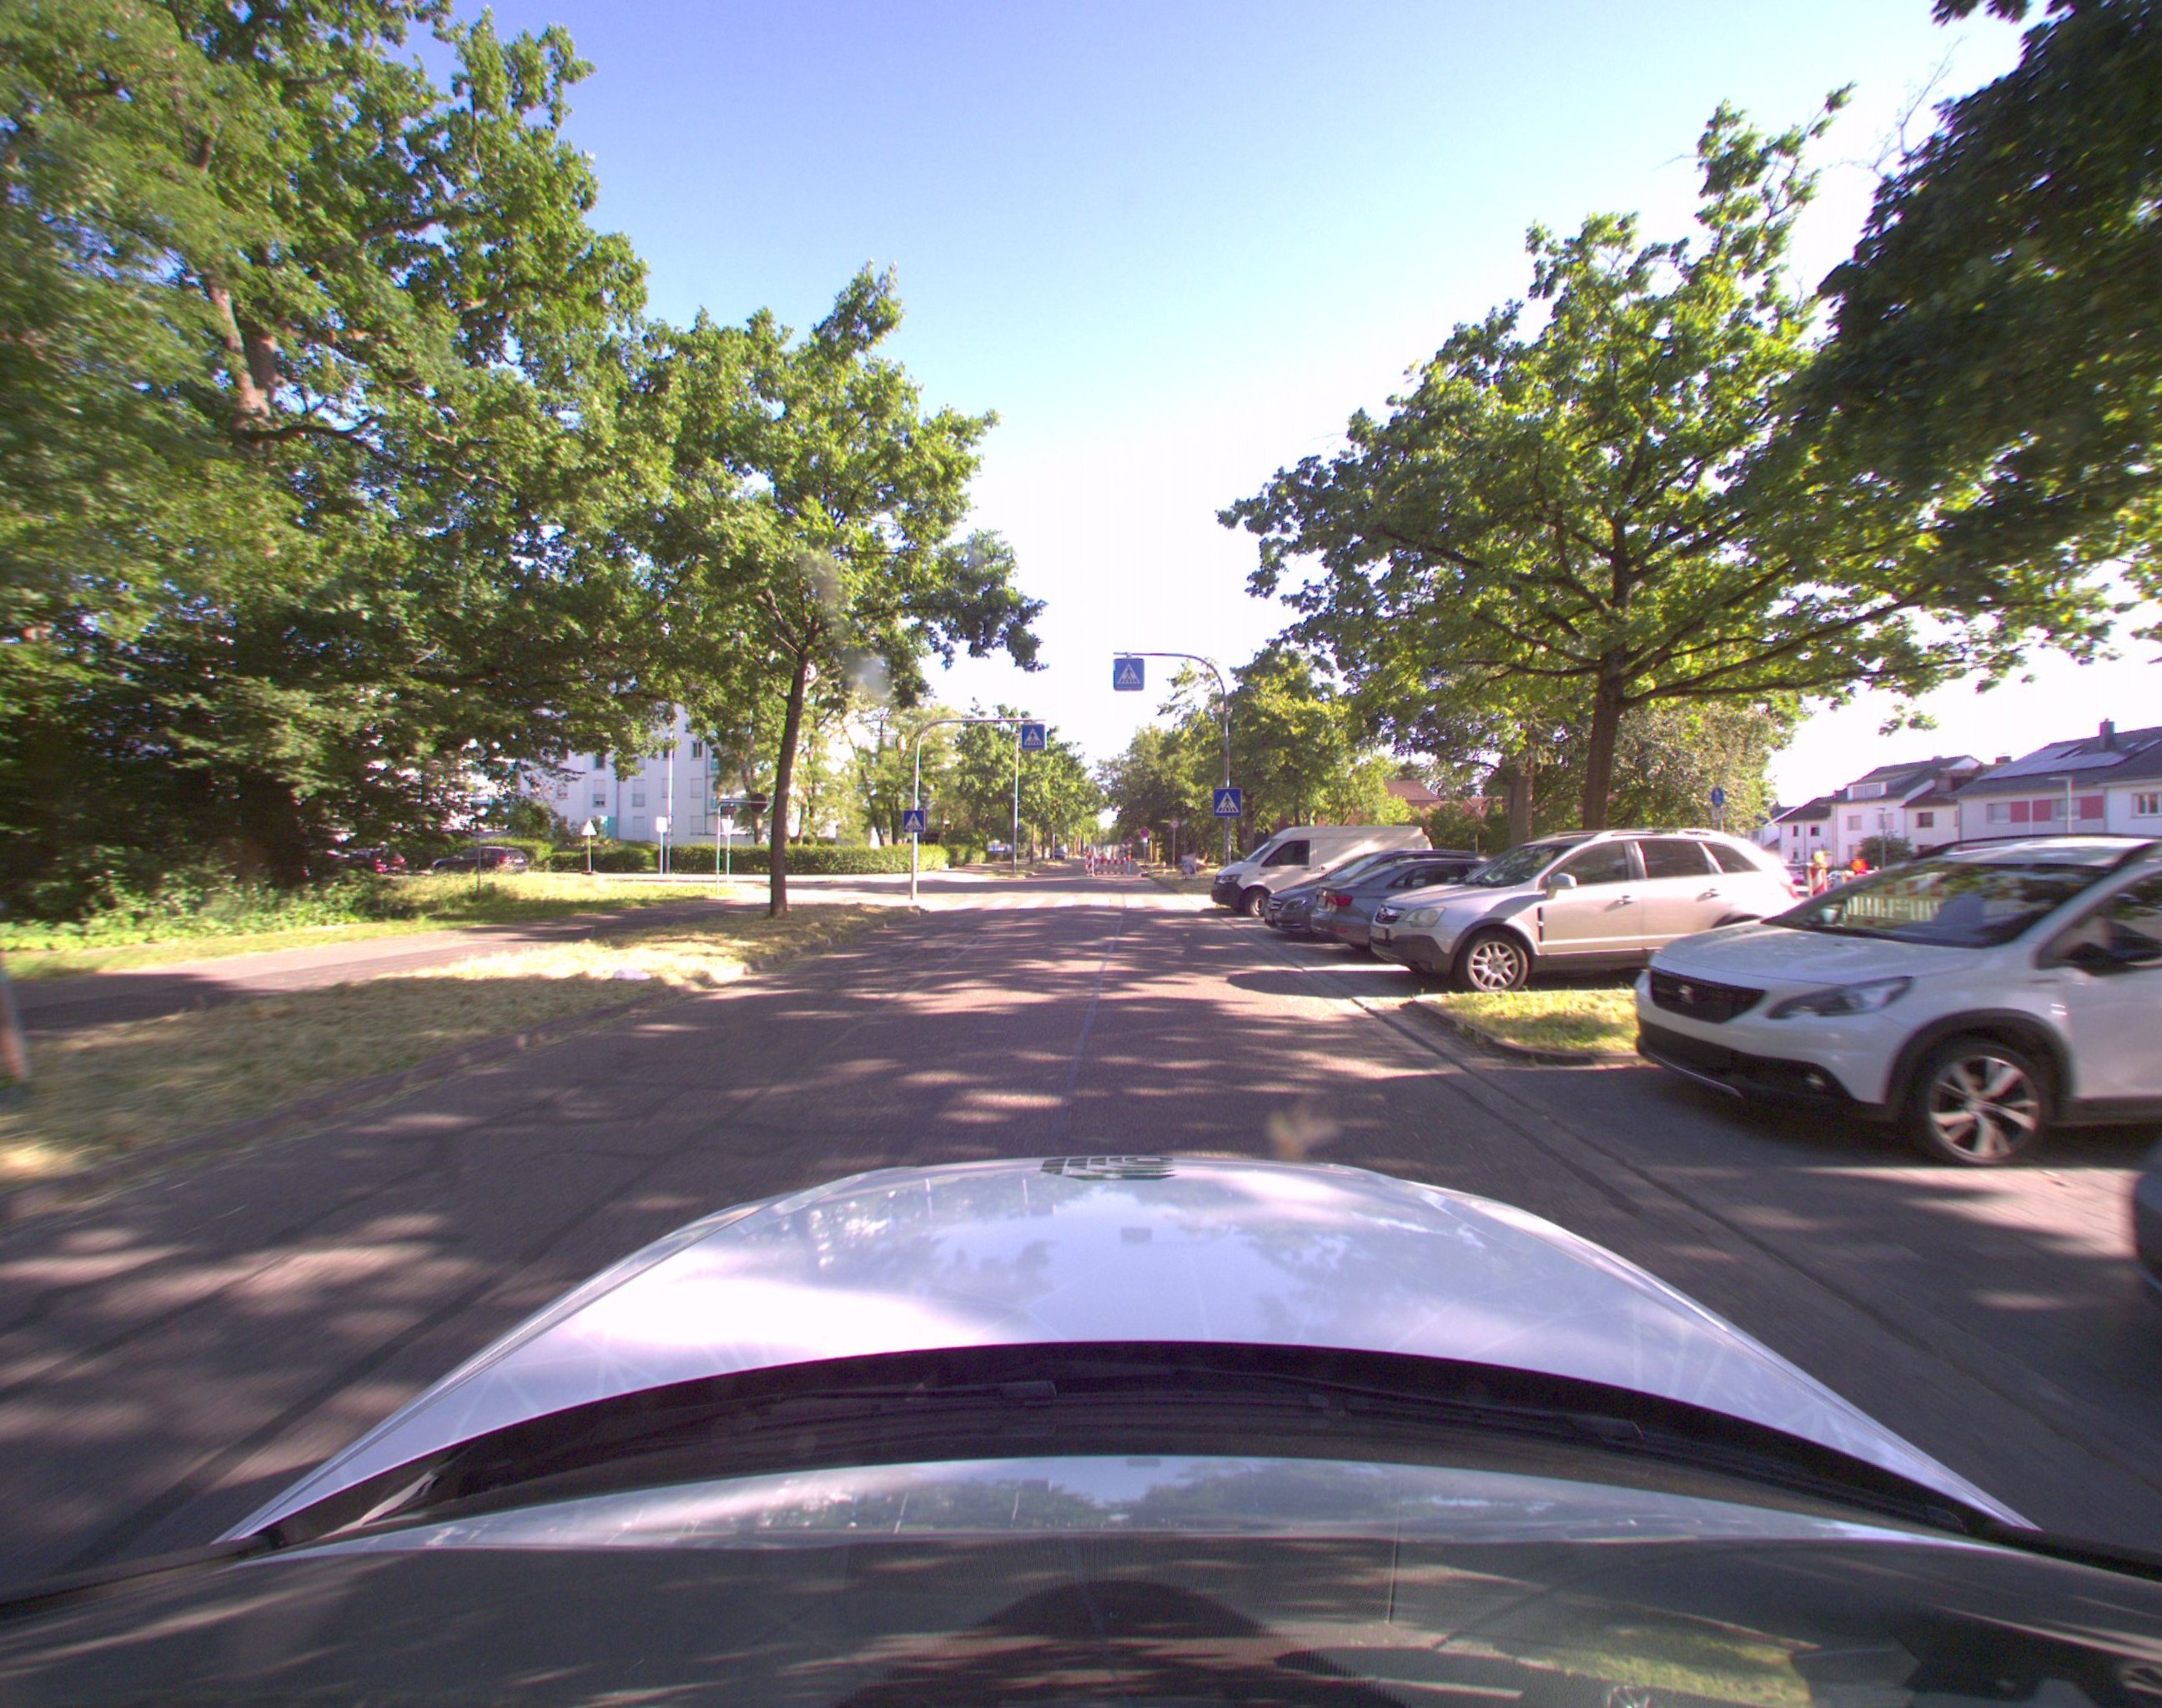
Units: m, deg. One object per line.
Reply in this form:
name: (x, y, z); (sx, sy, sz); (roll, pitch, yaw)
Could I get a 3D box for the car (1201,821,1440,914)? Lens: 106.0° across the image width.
car: (5.642, 0.307, 19.698); (5.170, 2.105, 2.082); (0, 0, 0)

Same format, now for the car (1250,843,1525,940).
car: (5.318, 0.616, 14.551); (4.199, 1.568, 1.933); (1, 0, 0)

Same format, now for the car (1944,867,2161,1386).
car: (5.128, 0.728, 1.781); (4.429, 1.390, 1.912); (-1, 0, 1)

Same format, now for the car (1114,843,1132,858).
car: (4.920, -0.401, 96.534); (1.986, 1.716, 4.001); (1, 0, 1)

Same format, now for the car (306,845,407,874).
car: (-37.898, 0.279, 42.633); (3.964, 1.423, 1.815); (0, 1, 8)

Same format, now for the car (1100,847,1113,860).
car: (3.891, -0.140, 126.147); (1.986, 1.968, 4.001); (1, 0, 1)

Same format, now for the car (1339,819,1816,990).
car: (5.459, 0.520, 9.385); (4.370, 1.651, 1.851); (-2, 0, 0)

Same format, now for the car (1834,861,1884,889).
car: (47.670, 1.252, 49.959); (1.714, 1.555, 3.489); (1, 0, 35)

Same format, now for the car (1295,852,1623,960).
car: (5.344, 0.695, 11.961); (3.970, 1.433, 1.902); (0, 0, 3)

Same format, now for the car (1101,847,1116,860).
car: (3.813, -0.023, 112.322); (1.986, 1.716, 4.001); (1, 0, 1)

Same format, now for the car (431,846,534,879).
car: (-30.919, 0.407, 42.111); (3.964, 1.613, 2.019); (1, 0, 8)

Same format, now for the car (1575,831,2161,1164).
car: (5.334, 0.649, 4.699); (3.871, 1.497, 1.777); (-2, 0, 1)

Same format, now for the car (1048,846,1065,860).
car: (-3.080, -0.082, 102.827); (1.986, 1.716, 4.001); (1, 0, 1)

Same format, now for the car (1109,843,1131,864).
car: (3.604, -0.049, 76.031); (1.986, 1.933, 4.001); (1, 0, 1)
